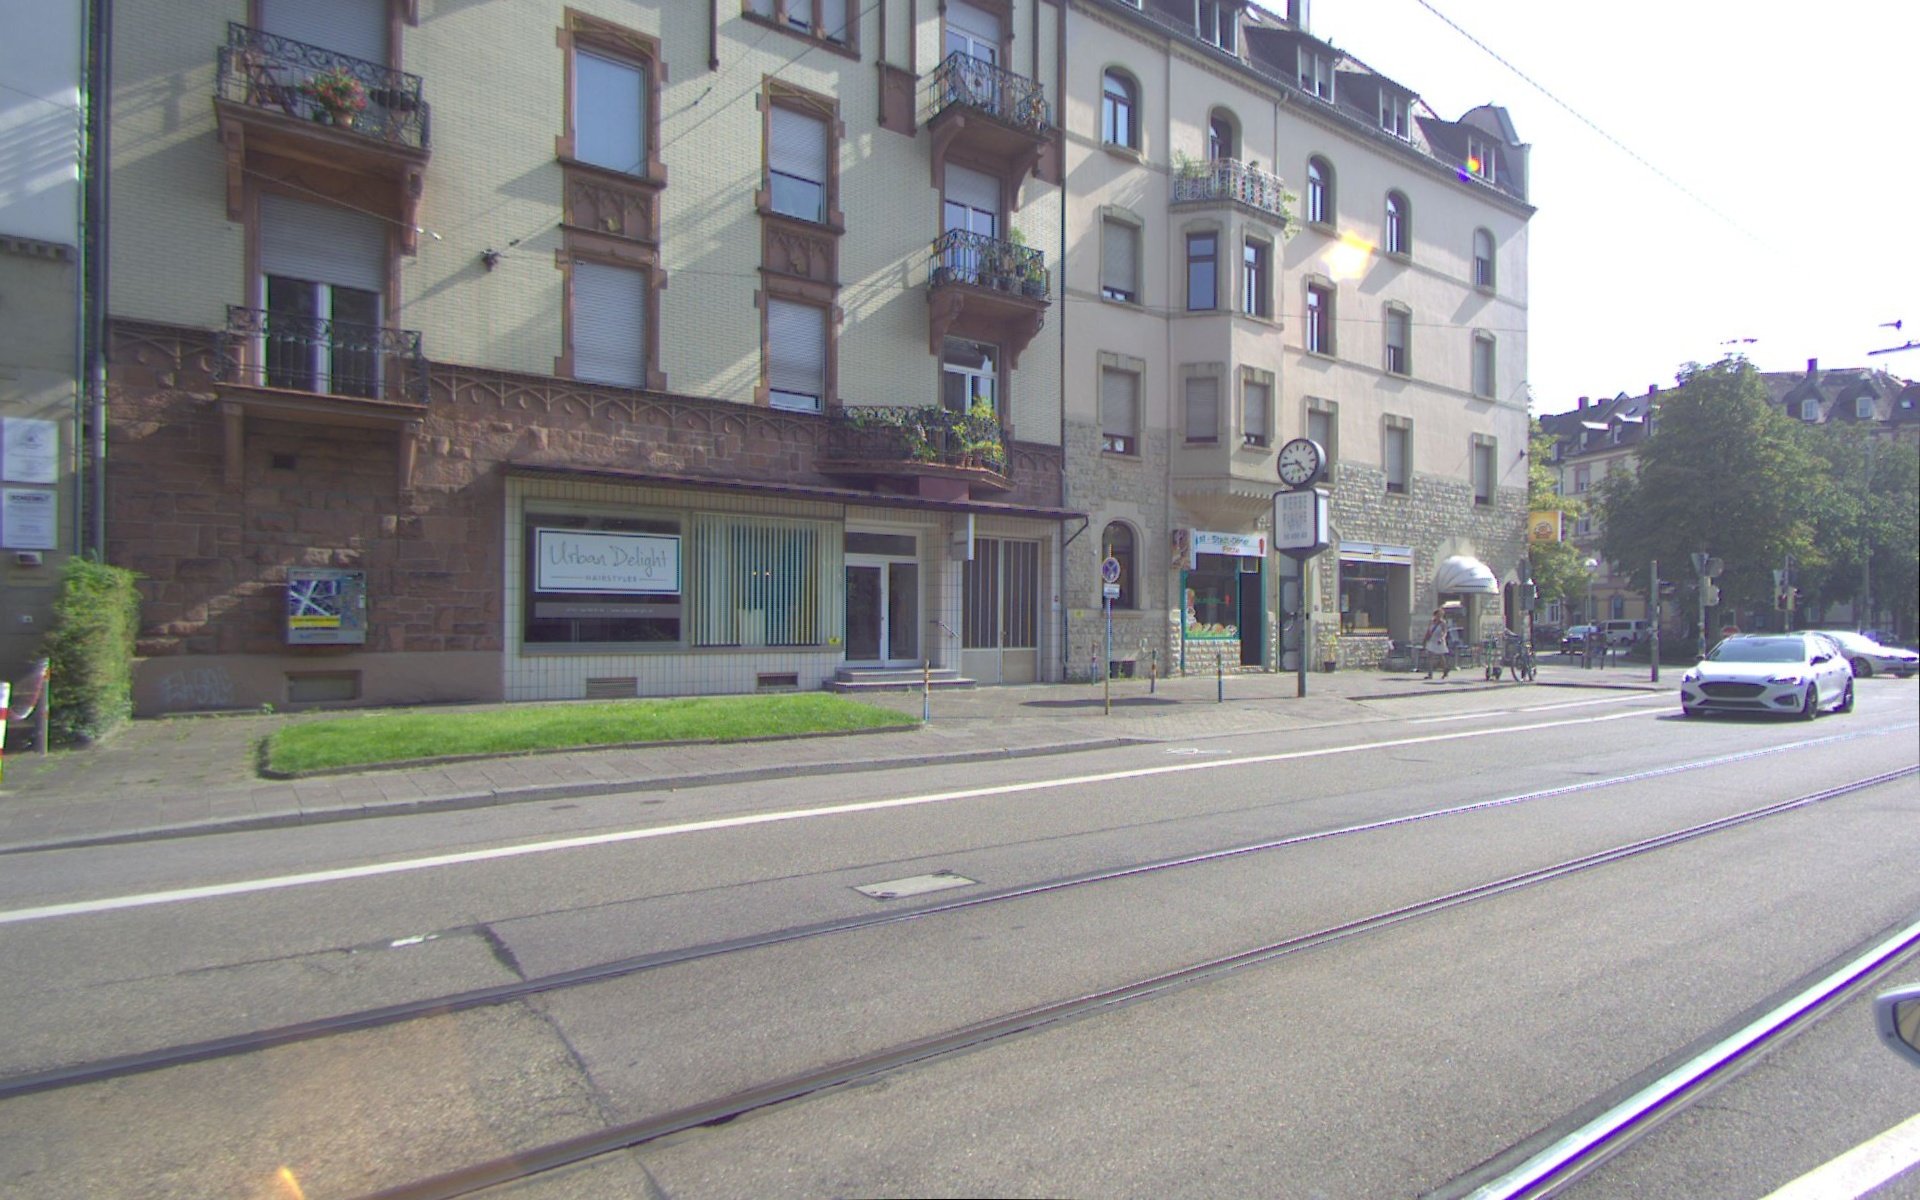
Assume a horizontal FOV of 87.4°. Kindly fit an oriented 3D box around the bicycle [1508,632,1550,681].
[{"bbox_3d":[14.977,1.465,26.420,1.844,1.242,0.448,1,-1,-44],"label":"bicycle"}]

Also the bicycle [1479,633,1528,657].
[{"bbox_3d":[24.093,2.007,44.506,1.841,1.017,0.570,1,-1,3],"label":"bicycle"}]

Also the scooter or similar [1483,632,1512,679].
[{"bbox_3d":[14.228,1.456,26.599,0.359,1.213,1.035,0,-1,10],"label":"scooter or similar"}]

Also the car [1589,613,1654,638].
[{"bbox_3d":[51.023,1.960,77.532,1.965,1.852,3.991,1,-1,-12],"label":"car"}]

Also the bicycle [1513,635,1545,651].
[{"bbox_3d":[36.129,2.709,63.771,0.597,0.991,1.759,1,-1,-26],"label":"bicycle"}]

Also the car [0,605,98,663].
[{"bbox_3d":[-26.586,0.939,28.169,1.740,1.547,3.995,0,-1,-8],"label":"car"}]

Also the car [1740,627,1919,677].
[{"bbox_3d":[28.824,1.662,33.240,1.837,1.485,4.777,1,-1,-11],"label":"car"}]

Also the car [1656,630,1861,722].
[{"bbox_3d":[14.592,1.315,18.281,4.504,1.473,1.859,1,-4,-38],"label":"car"}]

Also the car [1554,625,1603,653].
[{"bbox_3d":[34.415,2.123,55.854,1.841,1.485,4.767,0,-1,38],"label":"car"}]

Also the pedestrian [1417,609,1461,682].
[{"bbox_3d":[12.552,1.184,26.319,0.822,1.884,0.768,1,-1,-36],"label":"pedestrian"}]
